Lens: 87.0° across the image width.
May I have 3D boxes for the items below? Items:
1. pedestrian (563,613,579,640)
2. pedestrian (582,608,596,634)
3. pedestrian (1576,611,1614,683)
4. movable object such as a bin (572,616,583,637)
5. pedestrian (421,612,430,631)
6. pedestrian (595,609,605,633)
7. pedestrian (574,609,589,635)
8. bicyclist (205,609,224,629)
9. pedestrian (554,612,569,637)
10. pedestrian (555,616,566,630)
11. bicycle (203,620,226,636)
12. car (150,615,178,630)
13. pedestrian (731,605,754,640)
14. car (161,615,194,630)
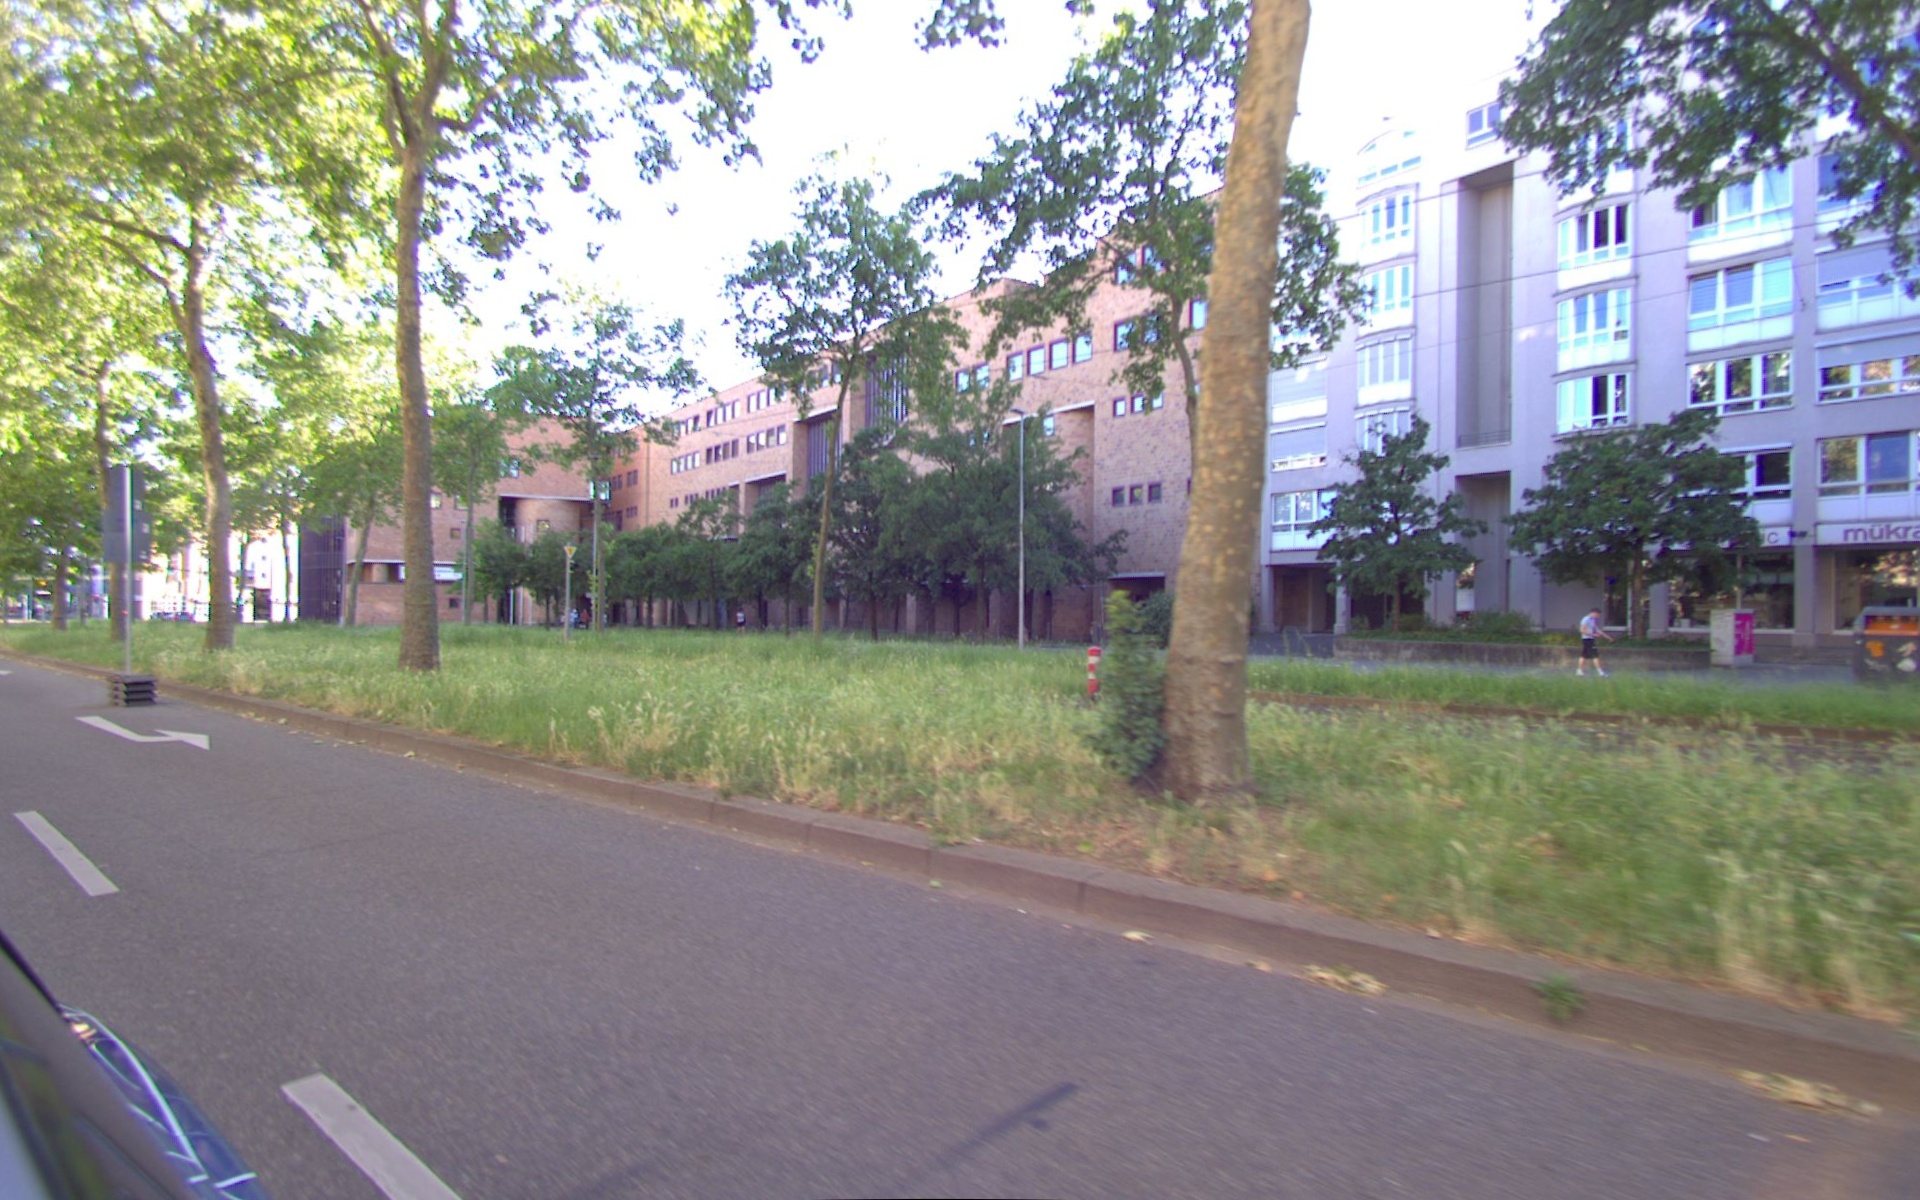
[{"bbox_3d":[-25.094,1.720,65.244,0.796,1.735,0.657,-1,-1,41],"label":"pedestrian"},{"bbox_3d":[-24.301,1.365,66.281,0.596,1.692,0.604,-1,-1,41],"label":"pedestrian"},{"bbox_3d":[15.854,1.161,25.254,0.720,1.753,0.648,1,-1,-45],"label":"pedestrian"},{"bbox_3d":[-24.483,1.699,64.746,0.756,1.289,0.352,-1,-1,41],"label":"movable object such as a bin"},{"bbox_3d":[-43.430,1.723,82.205,0.653,1.555,0.412,-1,-1,41],"label":"pedestrian"},{"bbox_3d":[-23.582,1.379,66.249,0.463,1.517,0.477,-1,-1,44],"label":"pedestrian"},{"bbox_3d":[-24.586,1.420,65.750,0.756,1.629,0.657,-1,-1,41],"label":"pedestrian"},{"bbox_3d":[-58.577,1.488,79.501,1.209,1.583,0.931,-1,-1,42],"label":"bicyclist"},{"bbox_3d":[-26.115,1.591,66.300,0.756,1.629,0.657,-1,-1,41],"label":"pedestrian"},{"bbox_3d":[-35.574,2.042,90.155,0.628,1.207,0.659,-1,-1,32],"label":"pedestrian"},{"bbox_3d":[-58.531,2.186,79.449,2.436,1.134,0.946,0,-1,42],"label":"bicycle"},{"bbox_3d":[-79.632,2.232,101.208,3.219,1.440,1.596,-1,-2,41],"label":"car"},{"bbox_3d":[-11.852,1.220,55.192,0.900,1.845,0.816,-1,-1,37],"label":"pedestrian"},{"bbox_3d":[-75.401,2.167,97.489,4.147,1.440,1.653,-1,-2,41],"label":"car"}]
